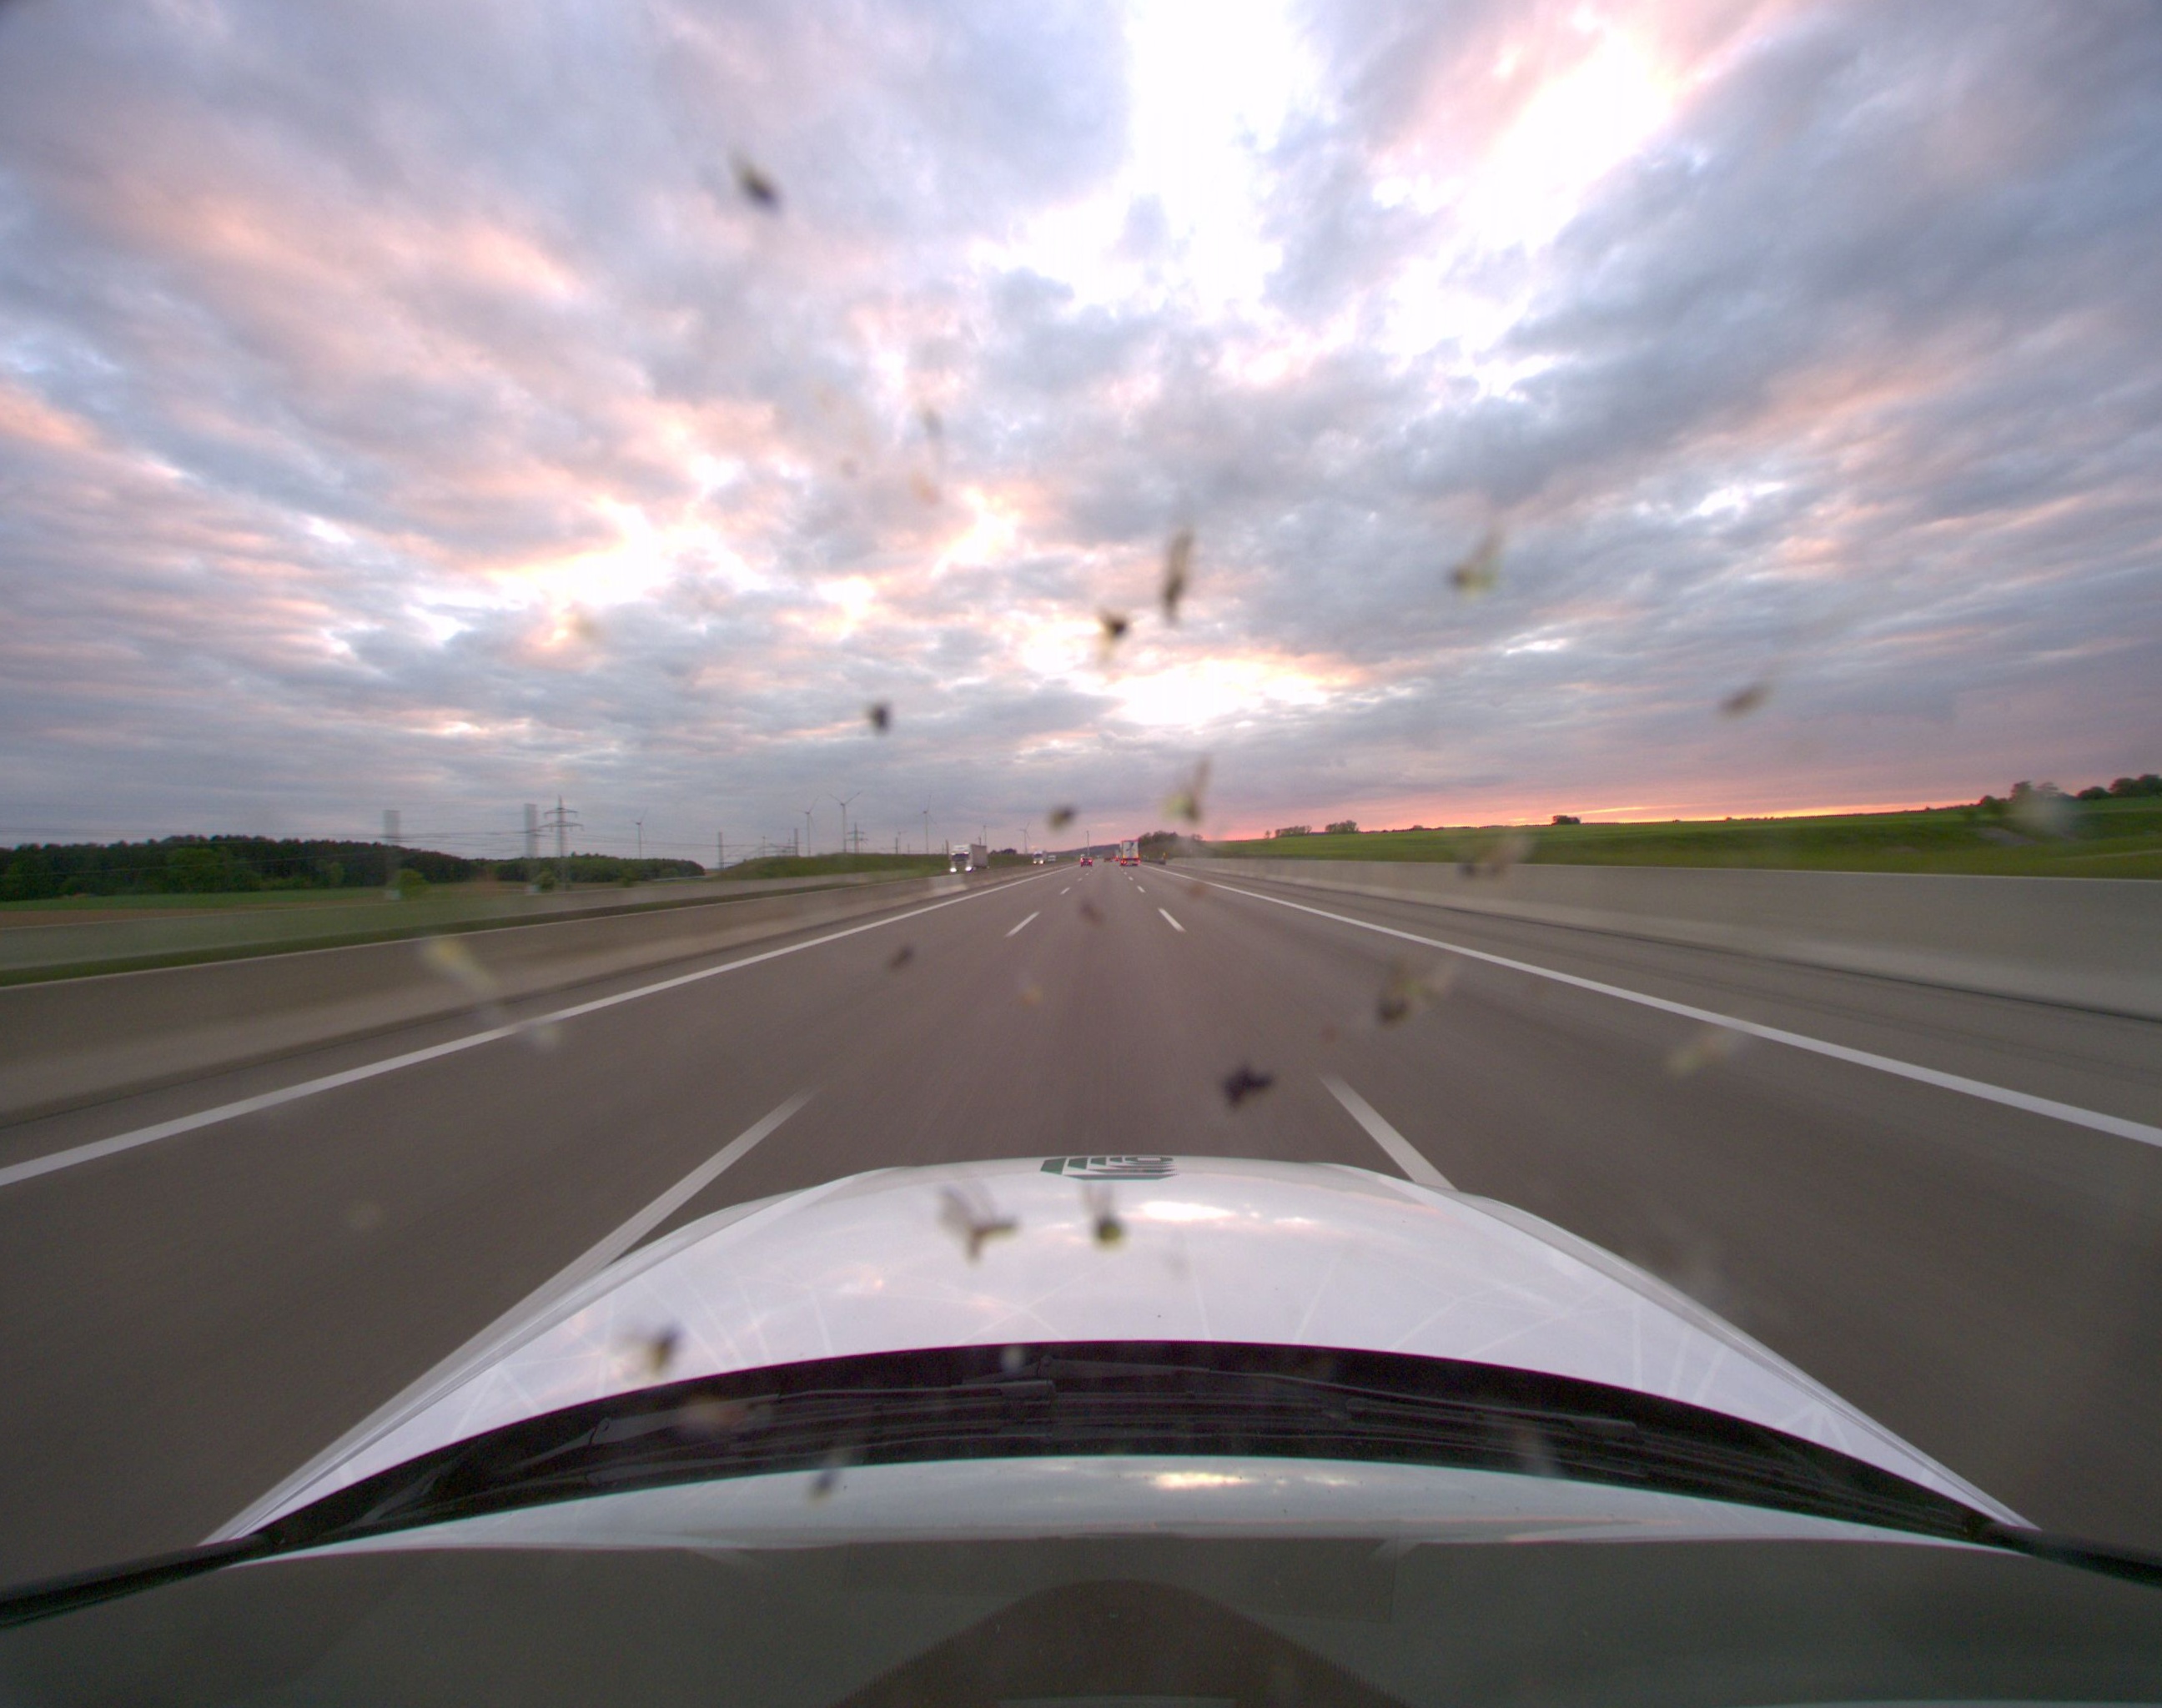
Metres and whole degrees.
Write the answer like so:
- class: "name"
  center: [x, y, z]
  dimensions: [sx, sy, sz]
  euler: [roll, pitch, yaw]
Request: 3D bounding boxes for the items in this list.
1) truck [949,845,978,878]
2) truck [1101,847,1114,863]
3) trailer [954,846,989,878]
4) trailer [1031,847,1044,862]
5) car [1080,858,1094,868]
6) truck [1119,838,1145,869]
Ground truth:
- class: "truck"
  center: [-16.100, 1.056, 112.039]
  dimensions: [2.807, 4.352, 6.742]
  euler: [-1, 0, 2]
- class: "truck"
  center: [7.929, 0.380, 241.962]
  dimensions: [3.634, 4.414, 8.638]
  euler: [-3, 0, 2]
- class: "trailer"
  center: [-15.857, 1.091, 119.176]
  dimensions: [2.807, 4.352, 12.845]
  euler: [-1, 0, 2]
- class: "trailer"
  center: [-12.274, 0.238, 232.240]
  dimensions: [2.675, 4.114, 6.944]
  euler: [-4, 0, 3]
- class: "car"
  center: [0.969, 1.338, 128.706]
  dimensions: [1.980, 1.429, 4.002]
  euler: [-3, 0, 2]
- class: "truck"
  center: [8.069, -0.110, 130.897]
  dimensions: [3.661, 4.565, 10.986]
  euler: [-2, 0, 2]
